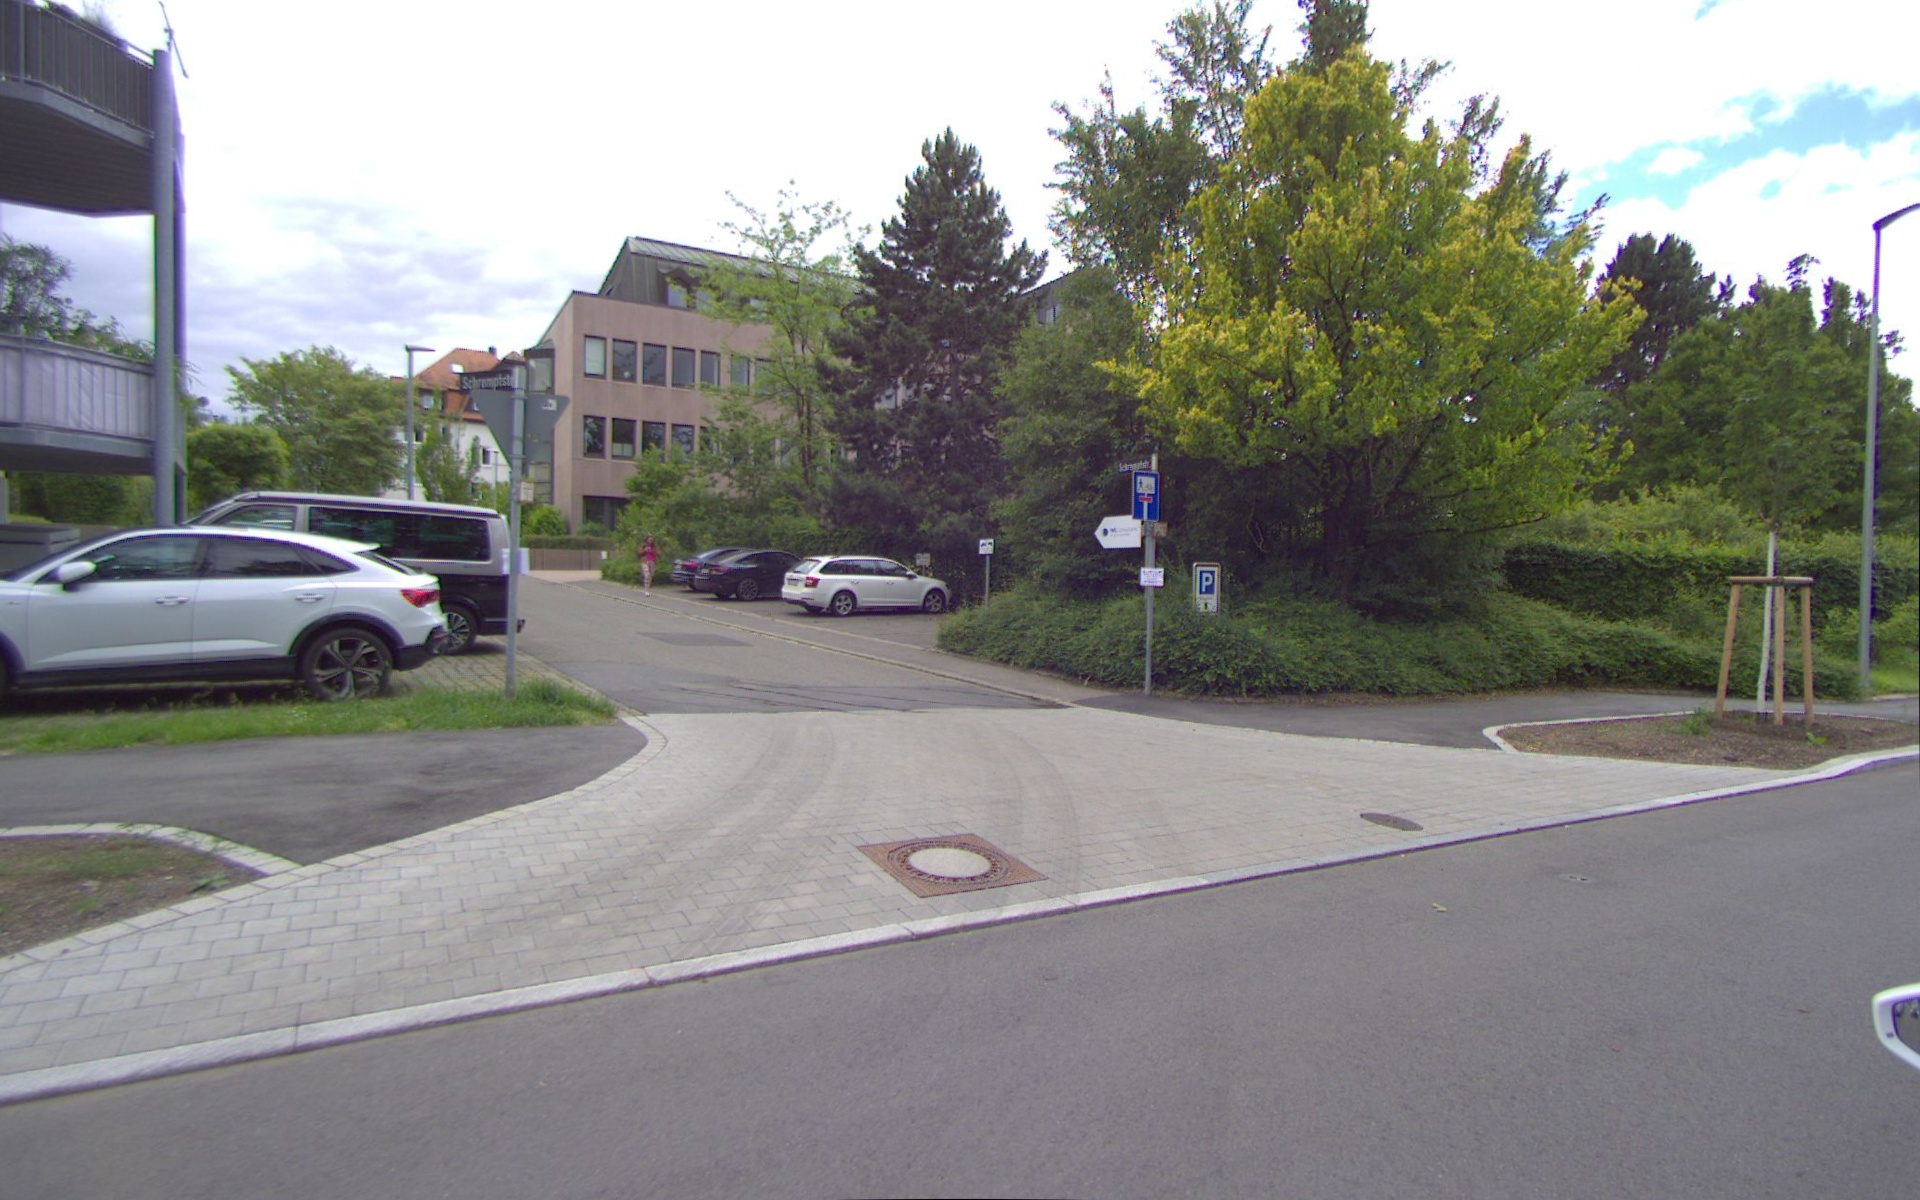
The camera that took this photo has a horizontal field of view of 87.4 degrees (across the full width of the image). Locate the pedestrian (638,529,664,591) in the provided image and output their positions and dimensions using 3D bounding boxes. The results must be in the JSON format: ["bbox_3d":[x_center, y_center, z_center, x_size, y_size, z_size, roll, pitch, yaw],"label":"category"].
[{"bbox_3d":[-9.223,-1.193,29.976,0.556,1.795,0.567,2,3,-30],"label":"pedestrian"}]

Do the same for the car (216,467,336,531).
[{"bbox_3d":[-28.117,-4.098,41.419,3.960,2.143,1.954,3,0,-35],"label":"car"}]

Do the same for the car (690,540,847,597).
[{"bbox_3d":[-5.654,-0.959,29.795,4.163,1.554,1.916,-1,4,-34],"label":"car"}]

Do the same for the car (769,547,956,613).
[{"bbox_3d":[-2.468,-0.548,25.723,4.367,1.553,1.981,-1,4,-34],"label":"car"}]

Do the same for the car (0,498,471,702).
[{"bbox_3d":[-7.095,-0.022,9.069,4.552,1.553,1.892,3,3,-35],"label":"car"}]

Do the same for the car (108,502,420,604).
[{"bbox_3d":[-11.957,-0.777,17.544,4.278,1.518,1.669,1,3,-35],"label":"car"}]

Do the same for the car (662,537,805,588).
[{"bbox_3d":[-7.360,-1.203,32.758,4.163,1.553,1.916,0,4,-34],"label":"car"}]

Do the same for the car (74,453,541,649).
[{"bbox_3d":[-8.192,-0.533,13.050,4.717,2.078,1.892,3,3,-35],"label":"car"}]
